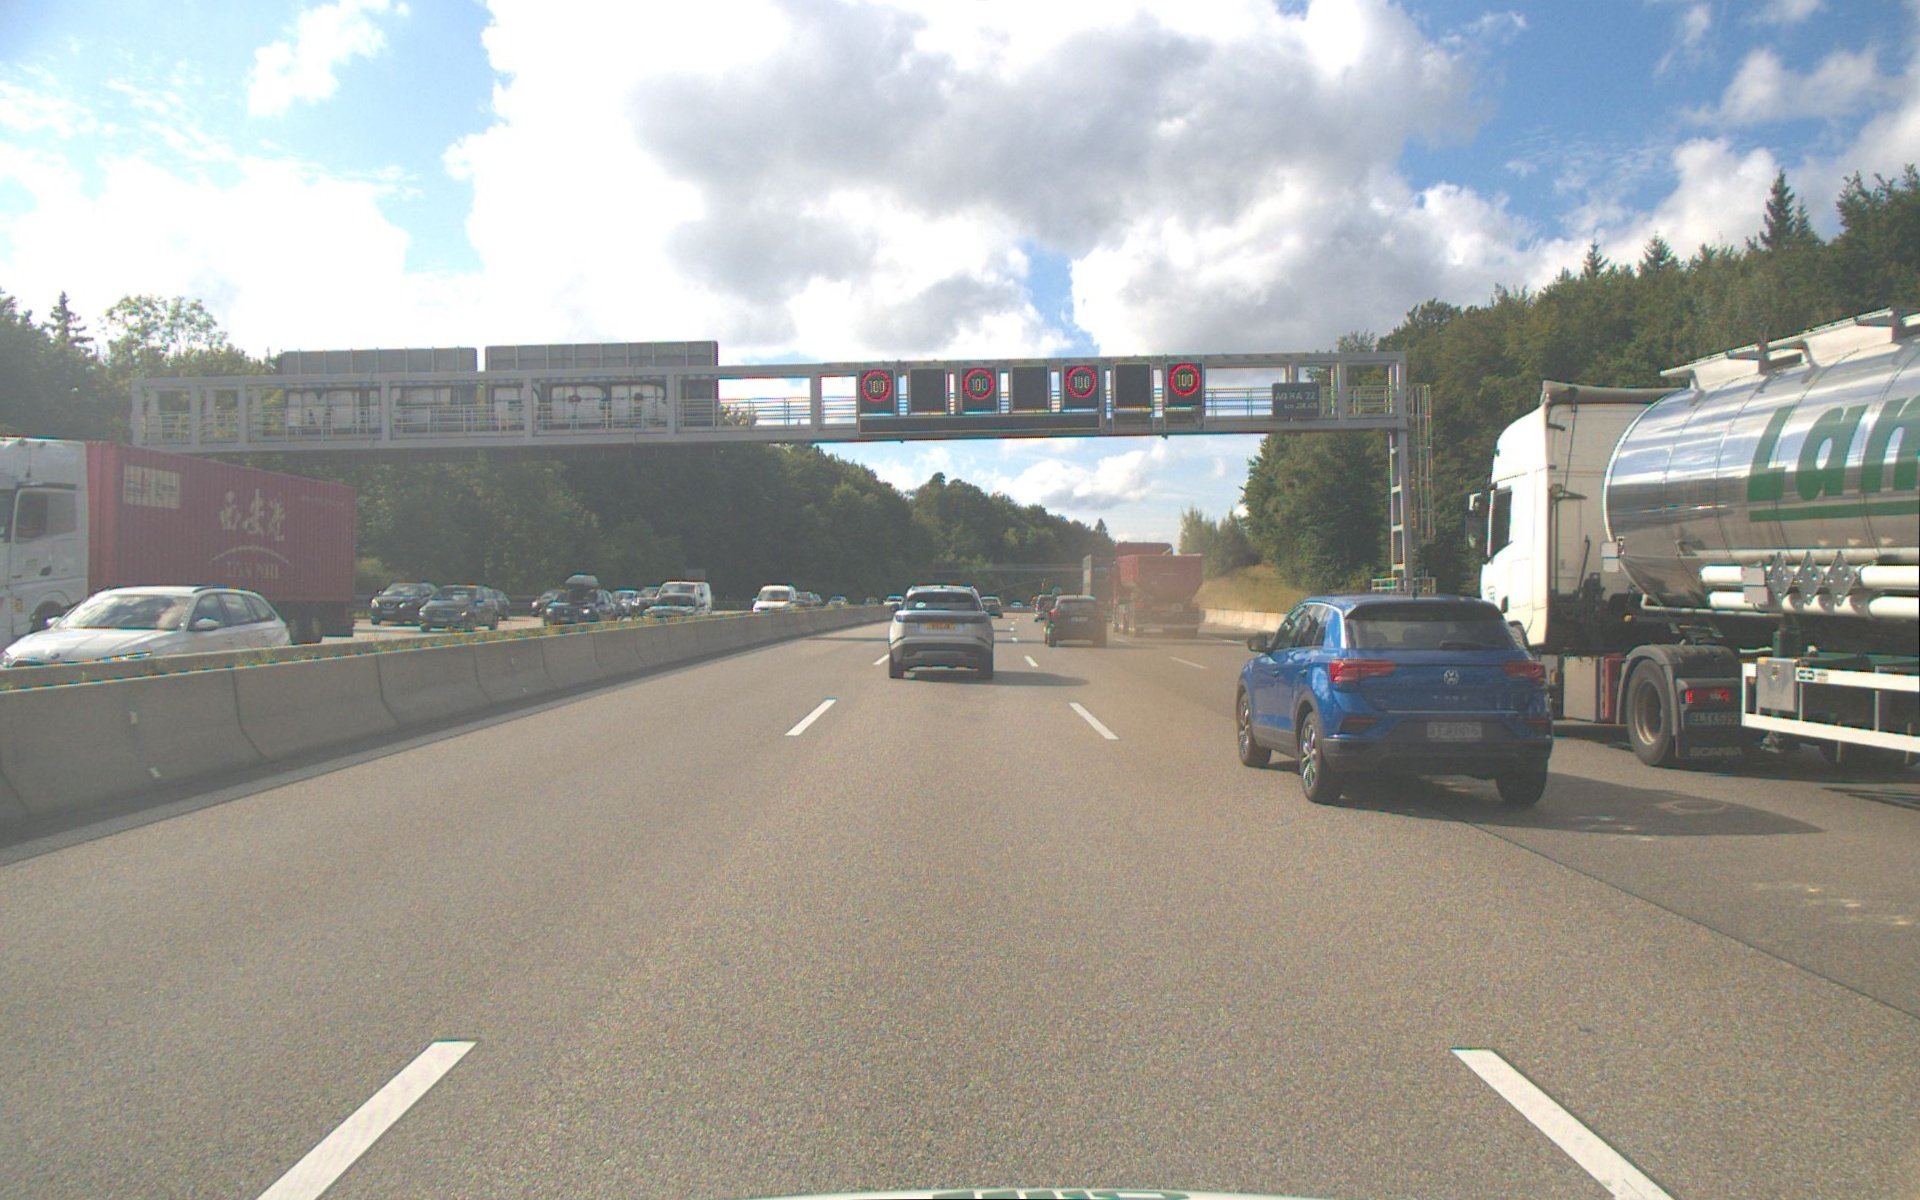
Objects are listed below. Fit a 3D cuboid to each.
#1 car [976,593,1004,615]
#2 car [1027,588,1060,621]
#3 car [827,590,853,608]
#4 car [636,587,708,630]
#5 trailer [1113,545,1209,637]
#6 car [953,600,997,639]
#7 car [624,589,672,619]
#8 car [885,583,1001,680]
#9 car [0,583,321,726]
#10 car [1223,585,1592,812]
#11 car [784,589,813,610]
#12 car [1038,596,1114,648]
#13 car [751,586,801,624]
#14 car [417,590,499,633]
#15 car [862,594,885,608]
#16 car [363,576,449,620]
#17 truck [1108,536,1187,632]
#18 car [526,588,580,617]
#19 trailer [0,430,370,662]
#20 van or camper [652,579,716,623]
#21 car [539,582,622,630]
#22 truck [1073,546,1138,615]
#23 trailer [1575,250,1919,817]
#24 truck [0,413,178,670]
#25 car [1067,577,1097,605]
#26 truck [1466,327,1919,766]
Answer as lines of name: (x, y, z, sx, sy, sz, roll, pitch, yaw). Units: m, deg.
car: (2.106, 0.267, 115.526, 1.784, 1.483, 4.001, 1, 0, 2)
car: (4.913, 0.272, 97.656, 1.854, 1.889, 4.101, 1, 0, 1)
car: (-11.727, -0.111, 161.741, 1.887, 1.746, 4.425, 1, 0, 5)
car: (-9.900, 0.288, 57.103, 1.756, 1.399, 4.548, 1, 0, -1)
trailer: (7.696, -0.343, 64.568, 2.654, 3.288, 9.733, 1, 0, 1)
car: (0.681, 0.805, 70.679, 1.784, 1.573, 4.001, 1, 0, 1)
car: (-15.701, 0.192, 83.344, 1.604, 1.440, 4.000, 1, 0, 1)
car: (-0.228, 0.534, 31.371, 1.964, 1.644, 5.302, 1, 0, 2)
car: (-9.495, 0.555, 19.673, 1.733, 1.467, 4.852, 1, 0, 2)
car: (3.441, 0.709, 13.616, 1.737, 1.557, 4.456, 0, -1, -2)
car: (-13.157, -0.064, 134.876, 1.631, 1.668, 4.481, 1, 0, 3)
car: (3.490, 0.635, 50.440, 1.786, 1.483, 3.997, 1, 0, -3)
car: (-8.510, 0.204, 76.686, 1.733, 1.678, 4.520, 1, 0, 0)
car: (-17.334, 0.373, 57.269, 1.604, 1.440, 4.000, 1, 0, 0)
car: (-10.497, 0.124, 200.798, 1.887, 1.746, 4.426, 1, 0, 8)
car: (-21.464, -0.072, 64.249, 1.779, 1.641, 4.148, 1, 0, 2)
truck: (7.784, -0.662, 69.249, 2.654, 3.783, 5.818, 1, 0, 1)
car: (-21.593, 0.105, 87.926, 1.666, 1.466, 4.708, 1, 0, 1)
trailer: (-16.863, -1.007, 36.753, 2.683, 4.178, 13.416, 1, 0, 0)
van or camper: (-12.298, 0.031, 74.060, 1.823, 1.882, 5.156, 1, 0, 2)
car: (-13.006, 0.198, 56.958, 1.663, 1.555, 4.685, 1, 0, 1)
truck: (9.023, -1.170, 103.477, 3.055, 4.003, 10.410, 1, 0, 0)
trailer: (7.792, -0.454, 11.300, 2.595, 3.833, 11.858, 0, 0, -1)
truck: (-16.832, -0.974, 29.803, 2.683, 4.178, 5.764, 1, 0, 0)
car: (8.560, -0.606, 116.092, 1.854, 1.889, 4.101, 1, 0, 2)
truck: (7.692, -0.499, 17.725, 2.595, 3.890, 6.081, 0, 0, -1)
